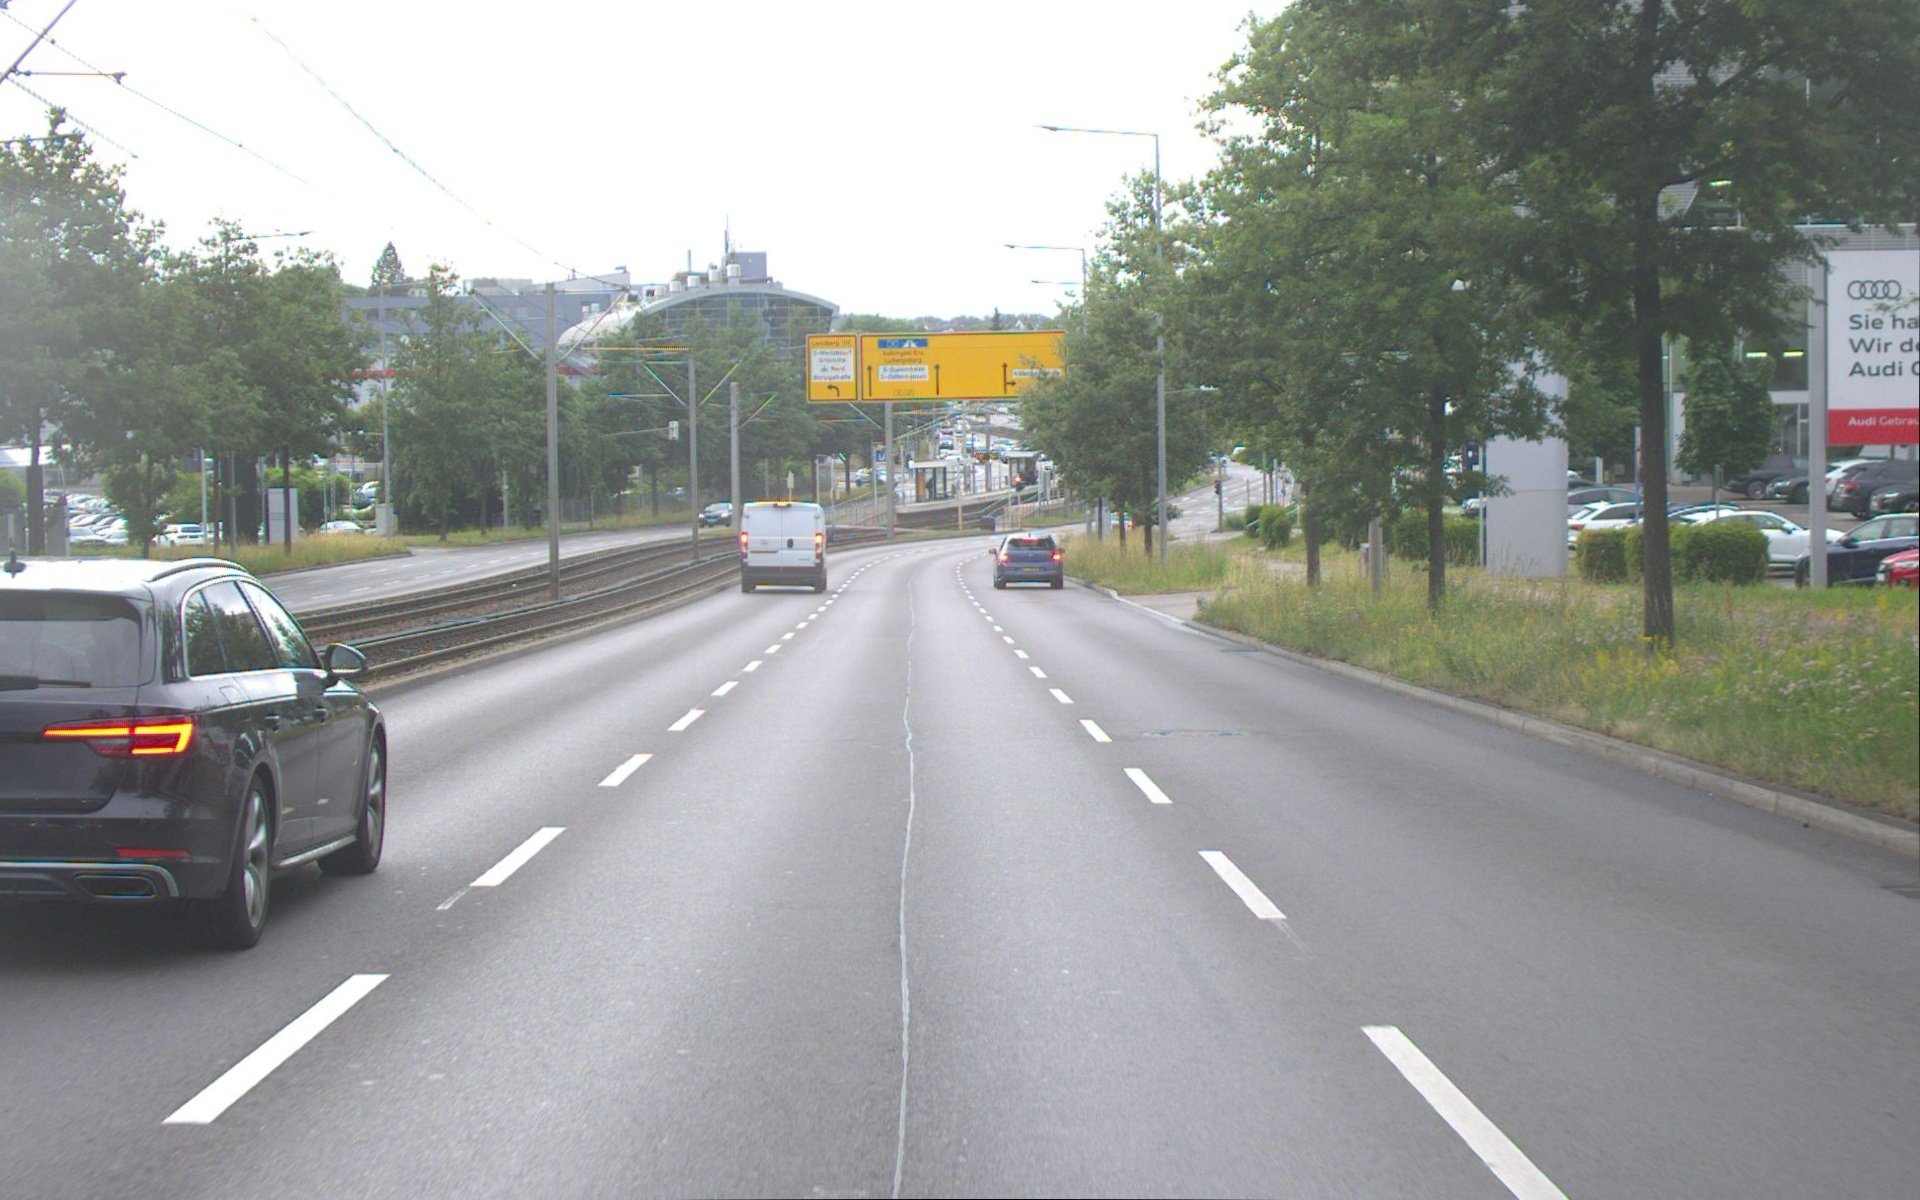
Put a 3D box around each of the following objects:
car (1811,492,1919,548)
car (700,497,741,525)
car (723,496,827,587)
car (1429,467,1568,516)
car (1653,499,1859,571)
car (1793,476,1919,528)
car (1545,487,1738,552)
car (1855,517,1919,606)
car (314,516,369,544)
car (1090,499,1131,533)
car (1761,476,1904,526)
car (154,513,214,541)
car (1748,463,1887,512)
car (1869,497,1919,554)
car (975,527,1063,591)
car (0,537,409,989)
[{"bbox_3d":[27.050,-2.331,99.932,4.105,1.568,1.826,0,2,-2],"label":"car"},{"bbox_3d":[-13.983,-5.207,200.662,1.883,1.515,4.403,-3,2,2],"label":"car"},{"bbox_3d":[-4.662,-1.462,86.631,2.511,2.169,5.150,1,1,-3],"label":"car"},{"bbox_3d":[17.653,-3.557,112.787,4.259,1.568,1.693,0,2,-2],"label":"car"},{"bbox_3d":[17.930,-1.455,77.536,4.104,1.588,1.949,0,0,-9],"label":"car"},{"bbox_3d":[27.826,-3.002,105.487,4.105,1.568,1.693,0,2,-2],"label":"car"},{"bbox_3d":[17.271,-2.030,87.255,4.519,1.588,1.693,0,0,-2],"label":"car"},{"bbox_3d":[18.386,-0.698,60.995,4.460,1.545,1.931,-1,1,-5],"label":"car"},{"bbox_3d":[-34.478,-3.910,191.615,1.993,1.505,4.001,1,1,-26],"label":"car"},{"bbox_3d":[8.015,-4.468,183.067,2.021,1.763,4.000,1,2,0],"label":"car"},{"bbox_3d":[27.921,-3.170,110.077,4.105,1.568,1.760,0,2,-2],"label":"car"},{"bbox_3d":[-42.504,-4.006,188.248,1.993,1.505,4.000,1,1,-32],"label":"car"},{"bbox_3d":[28.179,-3.692,113.087,4.105,1.568,1.693,0,2,-2],"label":"car"},{"bbox_3d":[28.002,-2.118,97.268,4.105,1.568,1.693,-1,2,-2],"label":"car"},{"bbox_3d":[1.546,-1.076,91.217,2.021,1.617,4.001,1,1,-3],"label":"car"},{"bbox_3d":[-3.427,0.501,13.713,1.764,1.458,4.627,1,1,-1],"label":"car"}]
